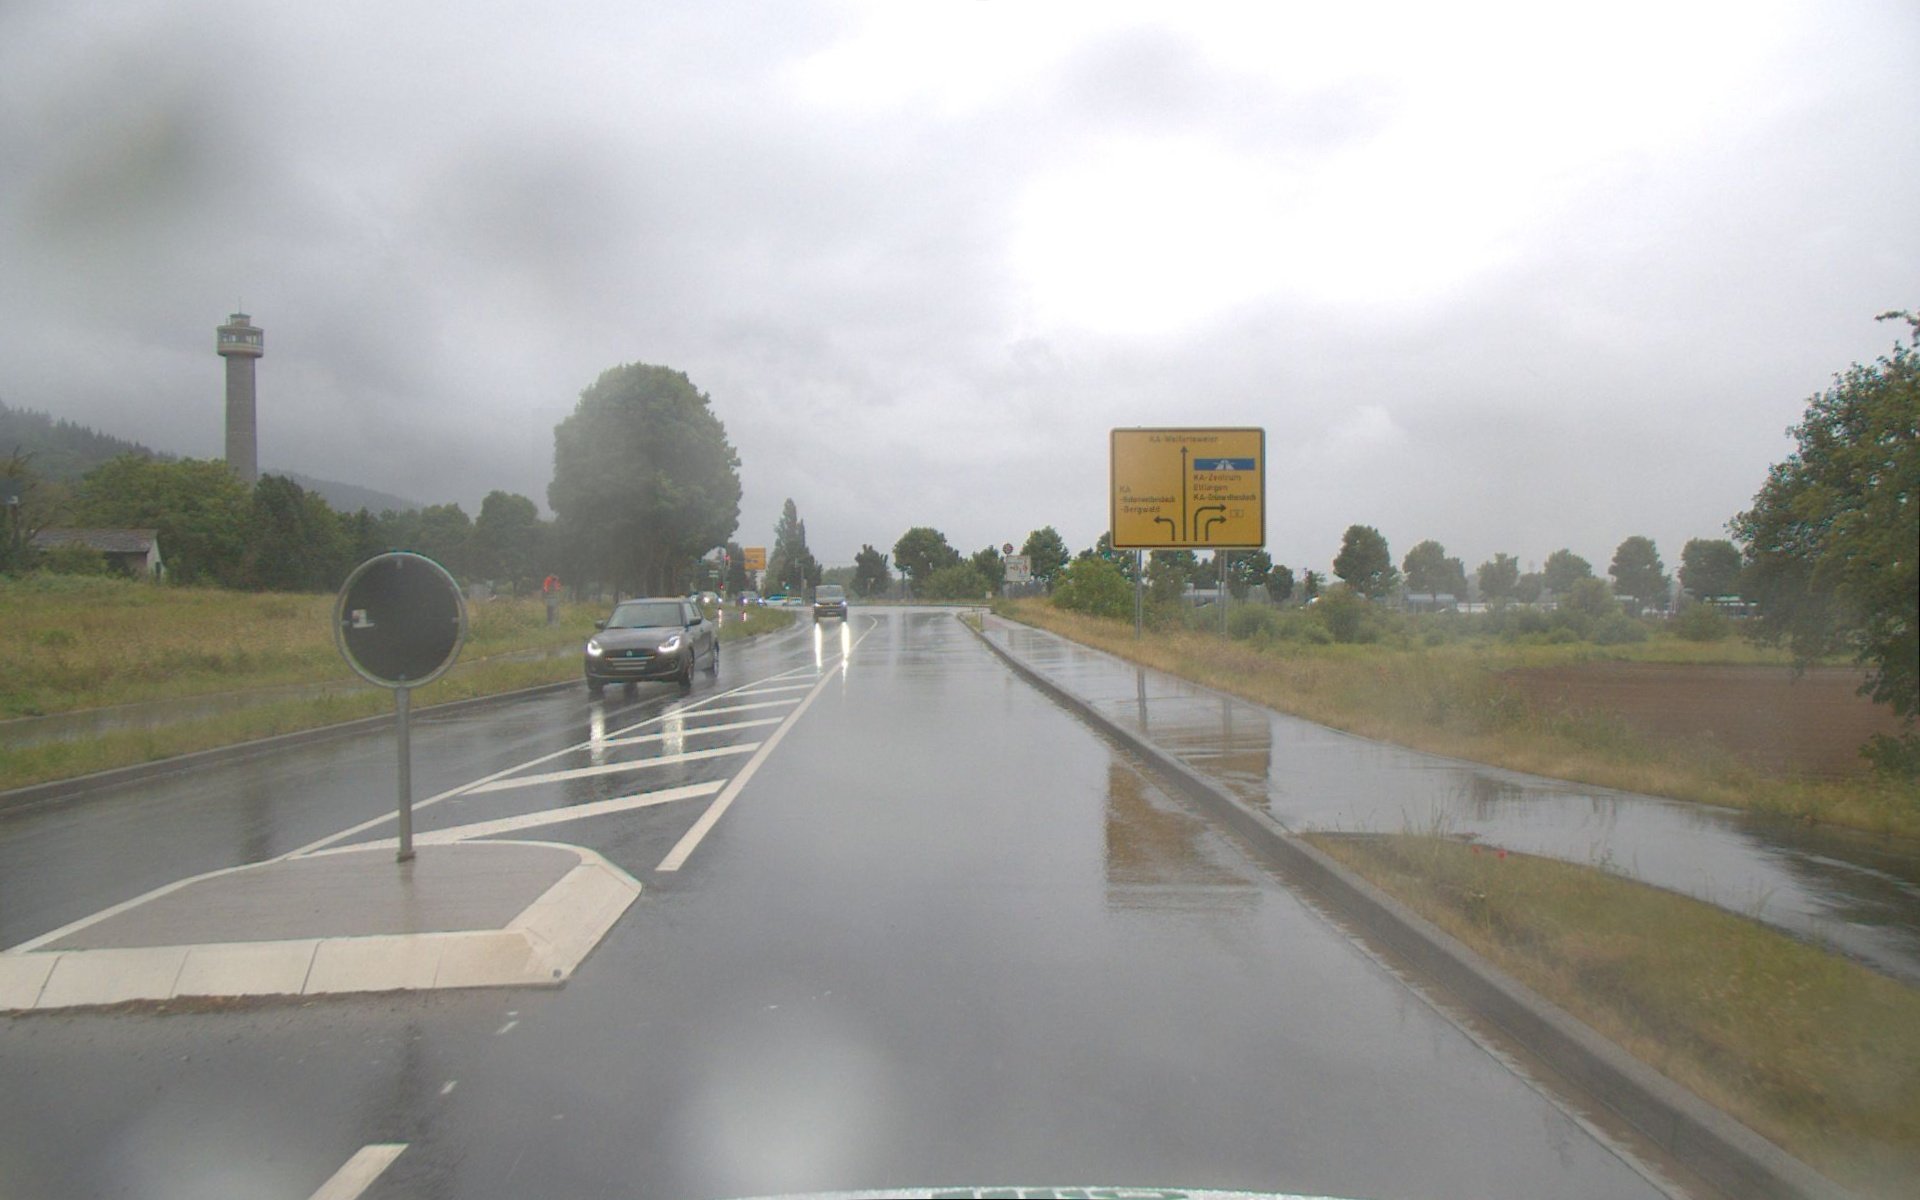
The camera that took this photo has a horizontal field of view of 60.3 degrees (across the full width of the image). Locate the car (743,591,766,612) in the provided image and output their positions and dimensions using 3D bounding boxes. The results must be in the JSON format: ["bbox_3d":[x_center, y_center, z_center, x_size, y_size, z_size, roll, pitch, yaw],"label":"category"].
[{"bbox_3d":[-18.495,0.136,148.969,1.870,1.751,3.992,-4,1,-9],"label":"car"}]

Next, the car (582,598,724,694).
[{"bbox_3d":[-5.173,0.731,28.324,1.662,1.426,3.767,-3,0,0],"label":"car"}]

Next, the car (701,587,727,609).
[{"bbox_3d":[-24.997,-0.203,167.989,1.961,2.048,3.983,3,0,-16],"label":"car"}]

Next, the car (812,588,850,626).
[{"bbox_3d":[-7.352,0.394,94.480,1.954,2.007,4.954,-3,0,-3],"label":"car"}]
